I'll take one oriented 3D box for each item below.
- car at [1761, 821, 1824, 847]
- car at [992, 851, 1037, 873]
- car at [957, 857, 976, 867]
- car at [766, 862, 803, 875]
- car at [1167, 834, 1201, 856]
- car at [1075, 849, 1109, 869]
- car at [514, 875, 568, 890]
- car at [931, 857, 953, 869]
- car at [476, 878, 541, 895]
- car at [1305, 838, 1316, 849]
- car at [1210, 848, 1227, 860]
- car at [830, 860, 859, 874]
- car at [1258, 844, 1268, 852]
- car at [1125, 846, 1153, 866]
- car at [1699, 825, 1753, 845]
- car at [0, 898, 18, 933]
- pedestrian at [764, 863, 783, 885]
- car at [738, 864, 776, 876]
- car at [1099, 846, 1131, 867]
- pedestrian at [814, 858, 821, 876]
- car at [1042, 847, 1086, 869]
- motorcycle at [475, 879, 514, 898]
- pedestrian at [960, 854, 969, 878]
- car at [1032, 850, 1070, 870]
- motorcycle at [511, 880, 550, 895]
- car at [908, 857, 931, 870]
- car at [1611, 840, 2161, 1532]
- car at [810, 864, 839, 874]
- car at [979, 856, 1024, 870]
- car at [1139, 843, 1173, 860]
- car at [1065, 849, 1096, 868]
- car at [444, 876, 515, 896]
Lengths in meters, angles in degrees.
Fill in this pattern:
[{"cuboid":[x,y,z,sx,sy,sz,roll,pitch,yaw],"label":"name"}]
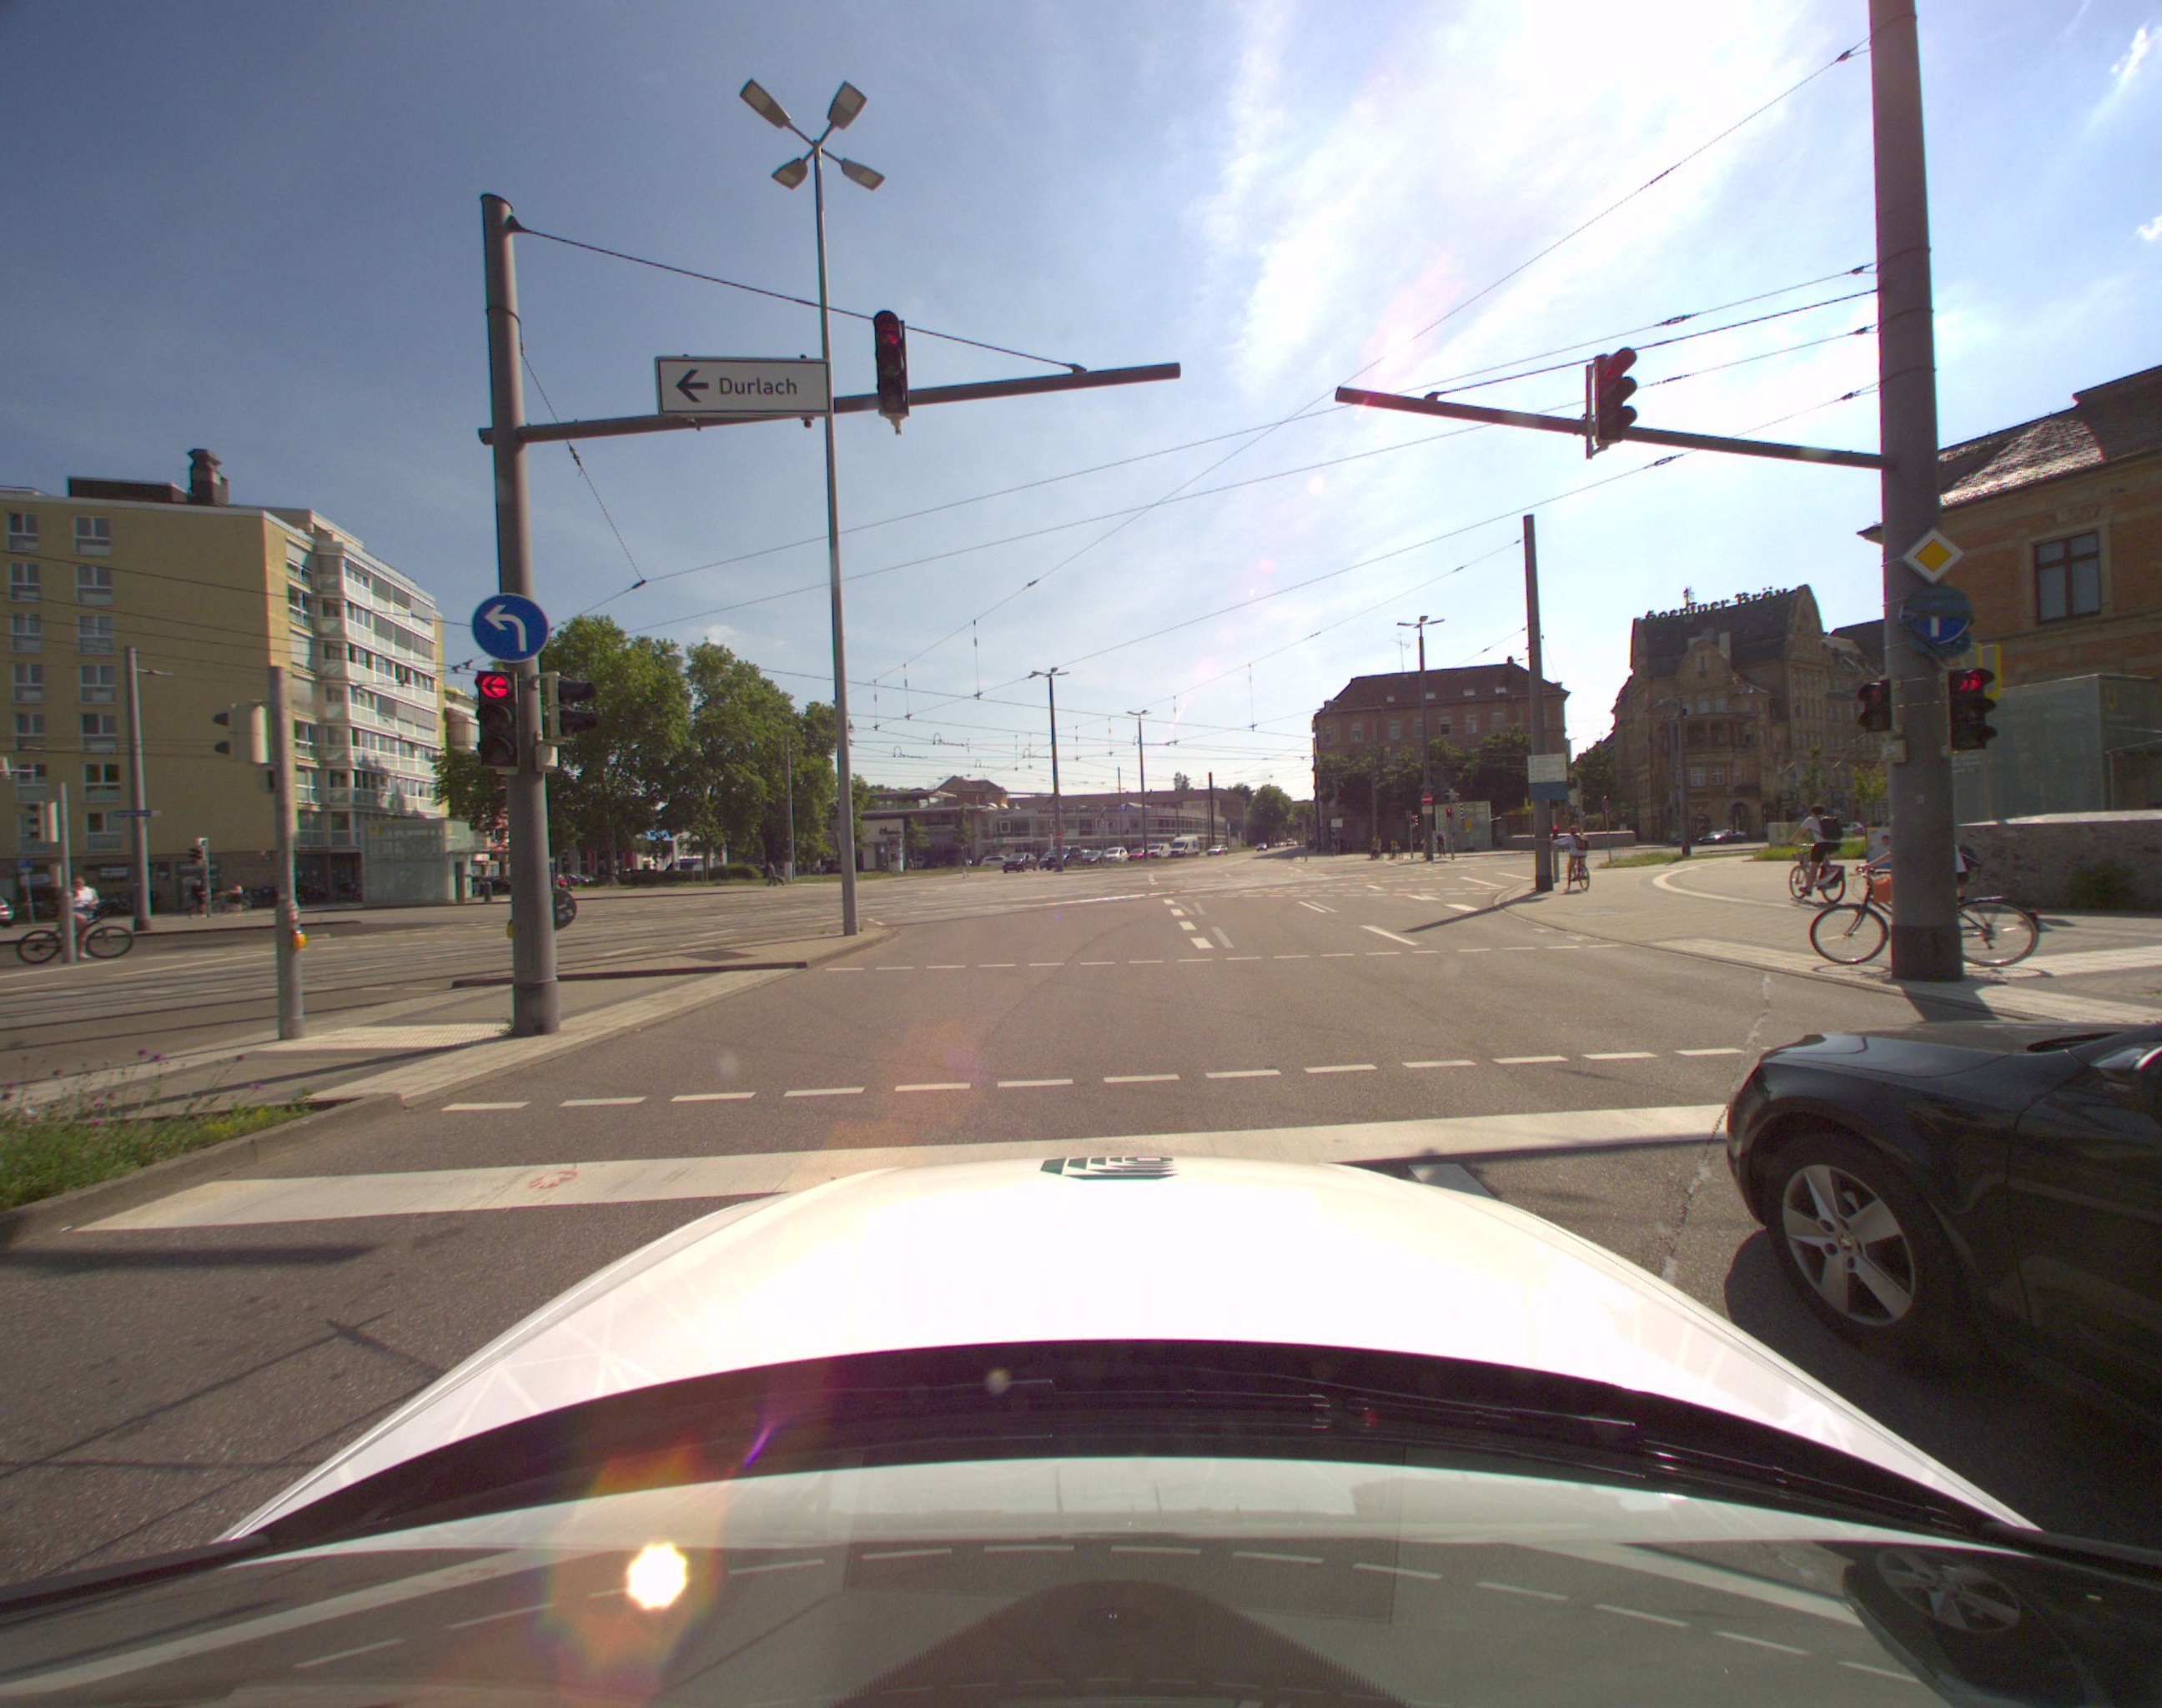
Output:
[{"cuboid":[39.128,-1.111,44.760,3.464,1.313,1.655,-3,0,-32],"label":"car"},{"cuboid":[-5.091,0.648,63.315,1.876,1.588,4.230,-3,-1,19],"label":"car"},{"cuboid":[-14.098,0.961,100.504,1.824,1.195,4.000,0,0,1],"label":"car"},{"cuboid":[-38.579,1.868,105.941,3.974,1.552,2.000,-2,0,0],"label":"car"},{"cuboid":[12.628,-1.024,99.621,2.188,2.575,5.910,-1,-1,28],"label":"car"},{"cuboid":[0.993,0.459,71.294,1.880,1.588,4.017,-3,-1,16],"label":"car"},{"cuboid":[-49.707,2.603,74.987,3.729,1.340,1.735,0,-1,-15],"label":"car"},{"cuboid":[-17.259,1.107,100.968,1.987,1.486,4.000,0,0,0],"label":"car"},{"cuboid":[-47.309,2.651,67.387,3.994,1.270,1.735,0,-1,-15],"label":"car"},{"cuboid":[46.362,-2.138,164.472,2.092,2.013,4.017,-2,0,16],"label":"car"},{"cuboid":[19.550,0.031,115.493,1.371,1.625,3.360,-1,-1,29],"label":"car"},{"cuboid":[-29.630,1.626,102.128,1.983,1.684,4.008,0,-1,7],"label":"car"},{"cuboid":[33.329,-1.073,148.956,1.372,1.414,3.028,-1,-1,21],"label":"car"},{"cuboid":[6.139,0.223,85.372,1.879,1.917,4.220,-3,-1,19],"label":"car"},{"cuboid":[54.062,-1.590,68.256,4.000,1.584,1.628,-1,0,-20],"label":"car"},{"cuboid":[-49.272,2.835,36.505,3.948,1.440,1.825,-5,-2,35],"label":"car"},{"cuboid":[-19.833,1.269,52.599,1.117,1.404,0.652,0,-1,-20],"label":"pedestrian"},{"cuboid":[-40.975,2.029,102.951,3.973,1.371,2.000,0,0,1],"label":"car"},{"cuboid":[3.277,0.281,78.538,1.879,1.917,4.220,-3,-1,19],"label":"car"},{"cuboid":[-24.078,1.184,74.426,0.388,1.596,0.467,-1,-1,25],"label":"pedestrian"},{"cuboid":[-1.283,0.308,64.821,1.945,1.587,4.739,-2,0,19],"label":"car"},{"cuboid":[-35.749,2.128,49.654,2.019,1.062,0.642,-2,0,9],"label":"motorcycle"},{"cuboid":[-7.823,0.796,54.633,0.456,1.605,0.396,0,-1,-34],"label":"pedestrian"},{"cuboid":[-2.576,0.523,71.028,1.879,1.588,4.019,-3,-1,19],"label":"car"},{"cuboid":[-36.866,2.229,54.566,0.632,0.842,2.051,-2,0,35],"label":"motorcycle"},{"cuboid":[-20.031,1.183,101.062,1.987,1.486,4.000,0,0,0],"label":"car"},{"cuboid":[3.038,0.670,1.038,1.625,1.435,4.779,-1,-1,0],"label":"car"},{"cuboid":[-31.991,1.860,101.788,1.983,1.244,4.008,0,0,7],"label":"car"},{"cuboid":[-8.572,0.944,87.869,4.551,1.436,1.450,-1,-1,15],"label":"car"},{"cuboid":[8.536,-0.321,92.301,2.165,1.680,5.058,-3,0,24],"label":"car"},{"cuboid":[-0.040,0.447,77.941,1.638,1.739,4.220,-3,-1,19],"label":"car"},{"cuboid":[-46.437,2.438,62.962,3.994,1.440,1.881,0,-1,-15],"label":"car"}]
